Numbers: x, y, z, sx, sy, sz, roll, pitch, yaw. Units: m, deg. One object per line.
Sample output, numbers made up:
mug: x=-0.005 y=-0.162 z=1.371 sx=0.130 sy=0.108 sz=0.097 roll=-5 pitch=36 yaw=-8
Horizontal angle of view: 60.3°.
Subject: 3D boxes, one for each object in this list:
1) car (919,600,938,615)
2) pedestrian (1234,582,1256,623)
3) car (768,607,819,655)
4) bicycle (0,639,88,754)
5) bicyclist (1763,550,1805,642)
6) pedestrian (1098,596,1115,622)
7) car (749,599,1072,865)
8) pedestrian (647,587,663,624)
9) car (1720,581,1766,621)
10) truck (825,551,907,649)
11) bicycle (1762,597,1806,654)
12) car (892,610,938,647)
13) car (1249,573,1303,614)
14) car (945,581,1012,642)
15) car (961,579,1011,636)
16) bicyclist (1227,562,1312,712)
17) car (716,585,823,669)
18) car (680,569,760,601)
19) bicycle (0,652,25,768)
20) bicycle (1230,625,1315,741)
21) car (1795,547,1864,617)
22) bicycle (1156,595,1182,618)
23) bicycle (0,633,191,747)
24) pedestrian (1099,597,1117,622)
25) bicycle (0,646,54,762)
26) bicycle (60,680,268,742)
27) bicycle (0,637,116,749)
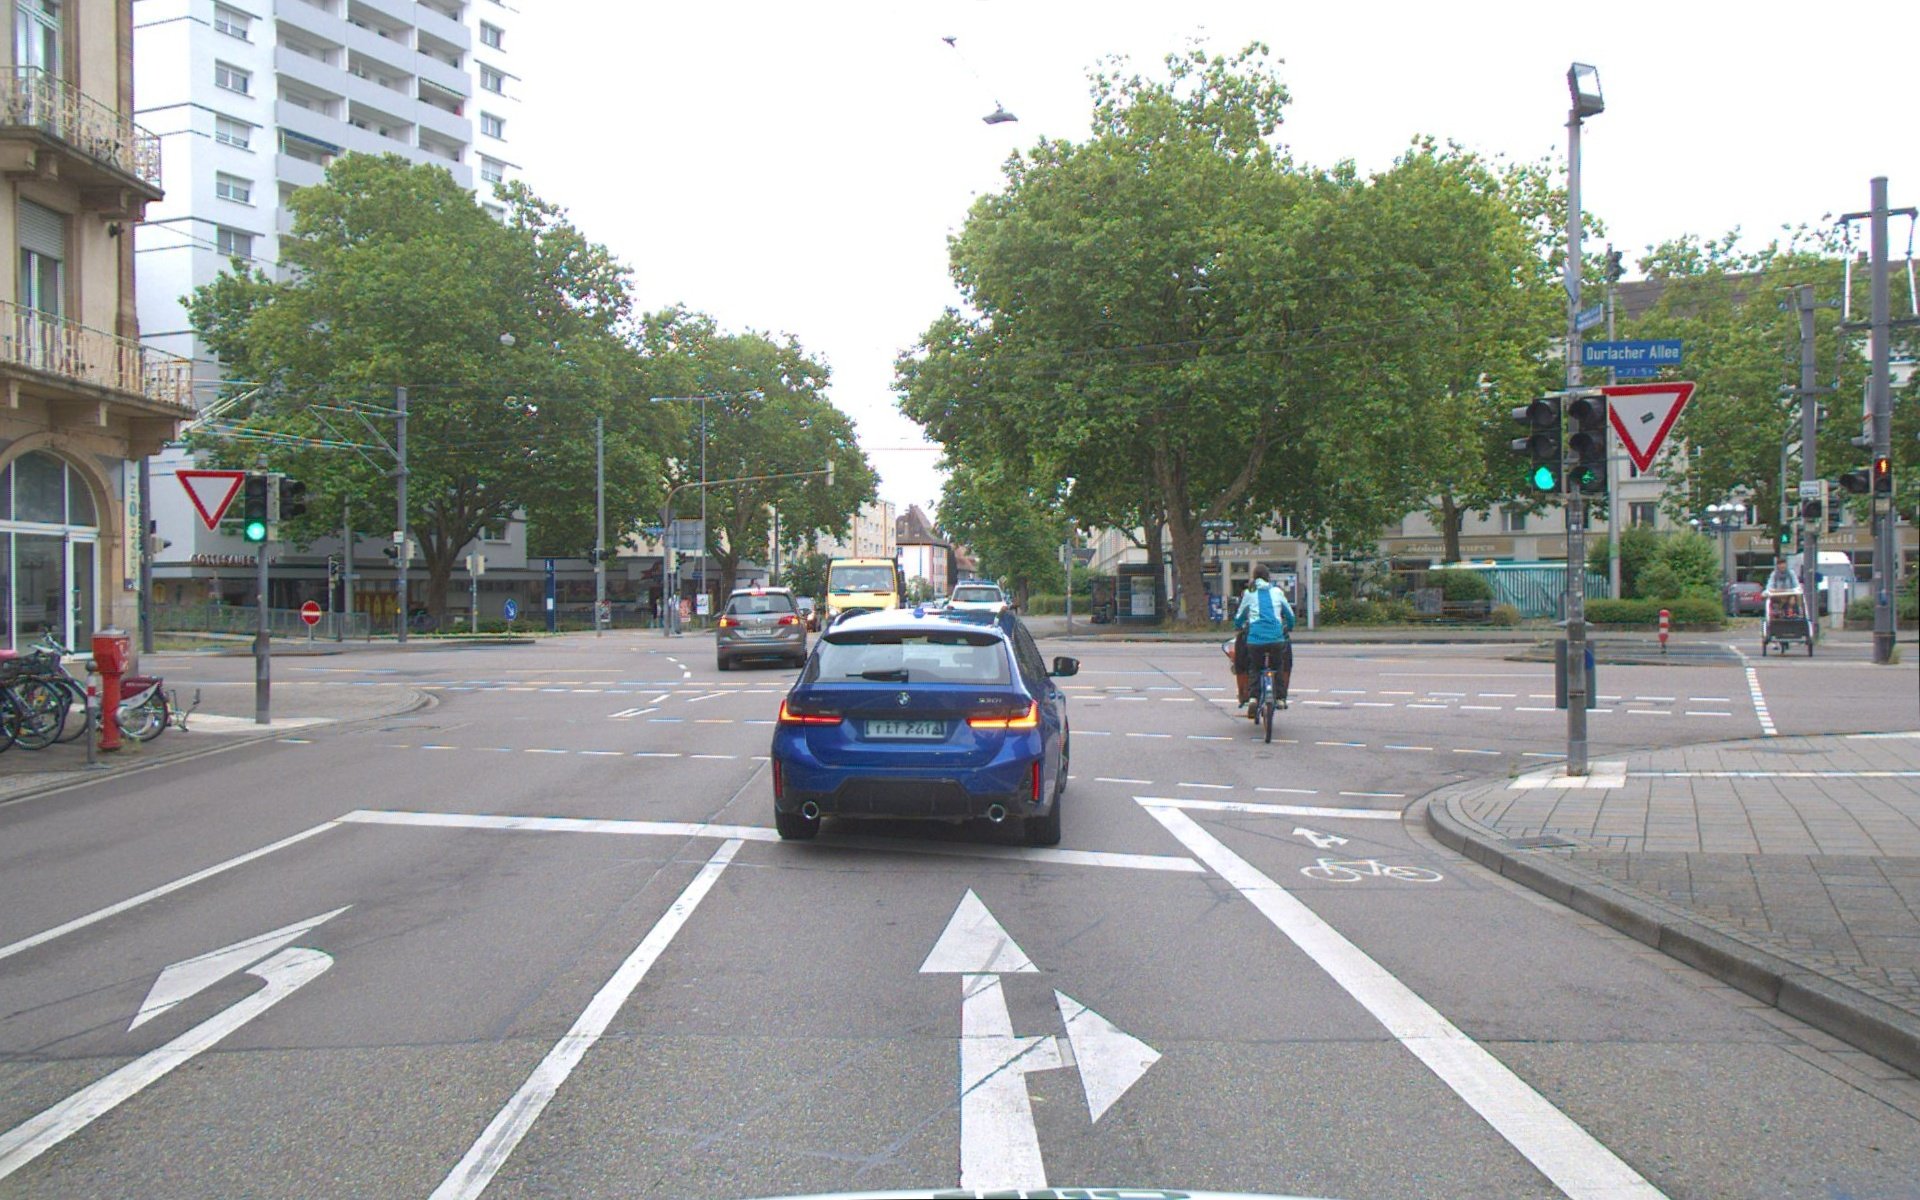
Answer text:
car: x=-3.219 y=0.762 z=168.201 sx=1.815 sy=1.478 sz=4.167 roll=-1 pitch=0 yaw=0
pedestrian: x=12.479 y=0.105 z=72.394 sx=0.768 sy=1.774 sz=0.925 roll=-1 pitch=0 yaw=-2
car: x=-7.476 y=1.355 z=74.445 sx=1.881 sy=2.049 sz=3.936 roll=-1 pitch=0 yaw=0
bicycle: x=-9.867 y=0.922 z=16.639 sx=1.849 sy=1.053 sz=0.442 roll=5 pitch=0 yaw=-3
bicyclist: x=15.225 y=-0.076 z=30.569 sx=0.601 sy=1.683 sz=0.754 roll=-1 pitch=0 yaw=21
pedestrian: x=7.906 y=0.462 z=89.375 sx=0.801 sy=1.396 sz=0.762 roll=-1 pitch=0 yaw=-1
car: x=-0.139 y=0.734 z=11.326 sx=1.777 sy=1.430 sz=4.322 roll=-1 pitch=0 yaw=4
pedestrian: x=-14.800 y=0.259 z=80.191 sx=0.562 sy=1.816 sz=0.620 roll=-1 pitch=0 yaw=8
car: x=31.755 y=0.014 z=67.078 sx=1.632 sy=1.542 sz=3.935 roll=-1 pitch=0 yaw=25
truck: x=-2.574 y=-0.019 z=44.841 sx=2.034 sy=2.450 sz=5.458 roll=-1 pitch=0 yaw=-4
bicycle: x=15.218 y=0.461 z=30.579 sx=0.540 sy=1.013 sz=2.061 roll=-1 pitch=0 yaw=22
car: x=-1.886 y=1.196 z=69.967 sx=1.771 sy=1.452 sz=4.317 roll=-1 pitch=0 yaw=0
car: x=17.872 y=-0.360 z=93.333 sx=2.130 sy=2.239 sz=3.998 roll=-1 pitch=0 yaw=24
car: x=0.485 y=0.295 z=46.499 sx=1.778 sy=1.620 sz=4.000 roll=-1 pitch=0 yaw=0
car: x=0.952 y=0.257 z=62.070 sx=1.778 sy=2.040 sz=4.000 roll=-1 pitch=0 yaw=0
bicyclist: x=3.292 y=0.380 z=17.658 sx=0.672 sy=1.544 sz=1.058 roll=-1 pitch=0 yaw=-1
car: x=-3.780 y=0.501 z=33.343 sx=1.697 sy=1.551 sz=4.000 roll=-1 pitch=0 yaw=0
car: x=-13.167 y=-0.819 z=90.714 sx=3.943 sy=1.736 sz=1.981 roll=0 pitch=-1 yaw=-29
bicycle: x=-9.827 y=0.964 z=15.442 sx=1.849 sy=1.053 sz=0.442 roll=5 pitch=0 yaw=-3
bicycle: x=3.343 y=0.861 z=17.836 sx=0.484 sy=1.117 sz=2.138 roll=-1 pitch=0 yaw=0
car: x=35.090 y=-0.714 z=66.853 sx=2.191 sy=2.685 sz=5.443 roll=-1 pitch=0 yaw=25
bicycle: x=11.382 y=0.346 z=89.971 sx=0.762 sy=1.188 sz=2.331 roll=-1 pitch=0 yaw=24
bicycle: x=-9.359 y=0.966 z=17.826 sx=1.849 sy=1.053 sz=0.442 roll=5 pitch=0 yaw=-3
pedestrian: x=7.898 y=0.492 z=88.262 sx=0.835 sy=1.337 sz=0.762 roll=-1 pitch=0 yaw=-1
bicycle: x=-9.845 y=0.945 z=15.977 sx=1.849 sy=1.053 sz=0.442 roll=5 pitch=0 yaw=-3
bicycle: x=-9.040 y=1.260 z=18.867 sx=1.849 sy=0.453 sz=1.028 roll=5 pitch=2 yaw=-3
bicycle: x=-9.907 y=0.938 z=17.274 sx=1.849 sy=1.053 sz=0.442 roll=5 pitch=0 yaw=-3
